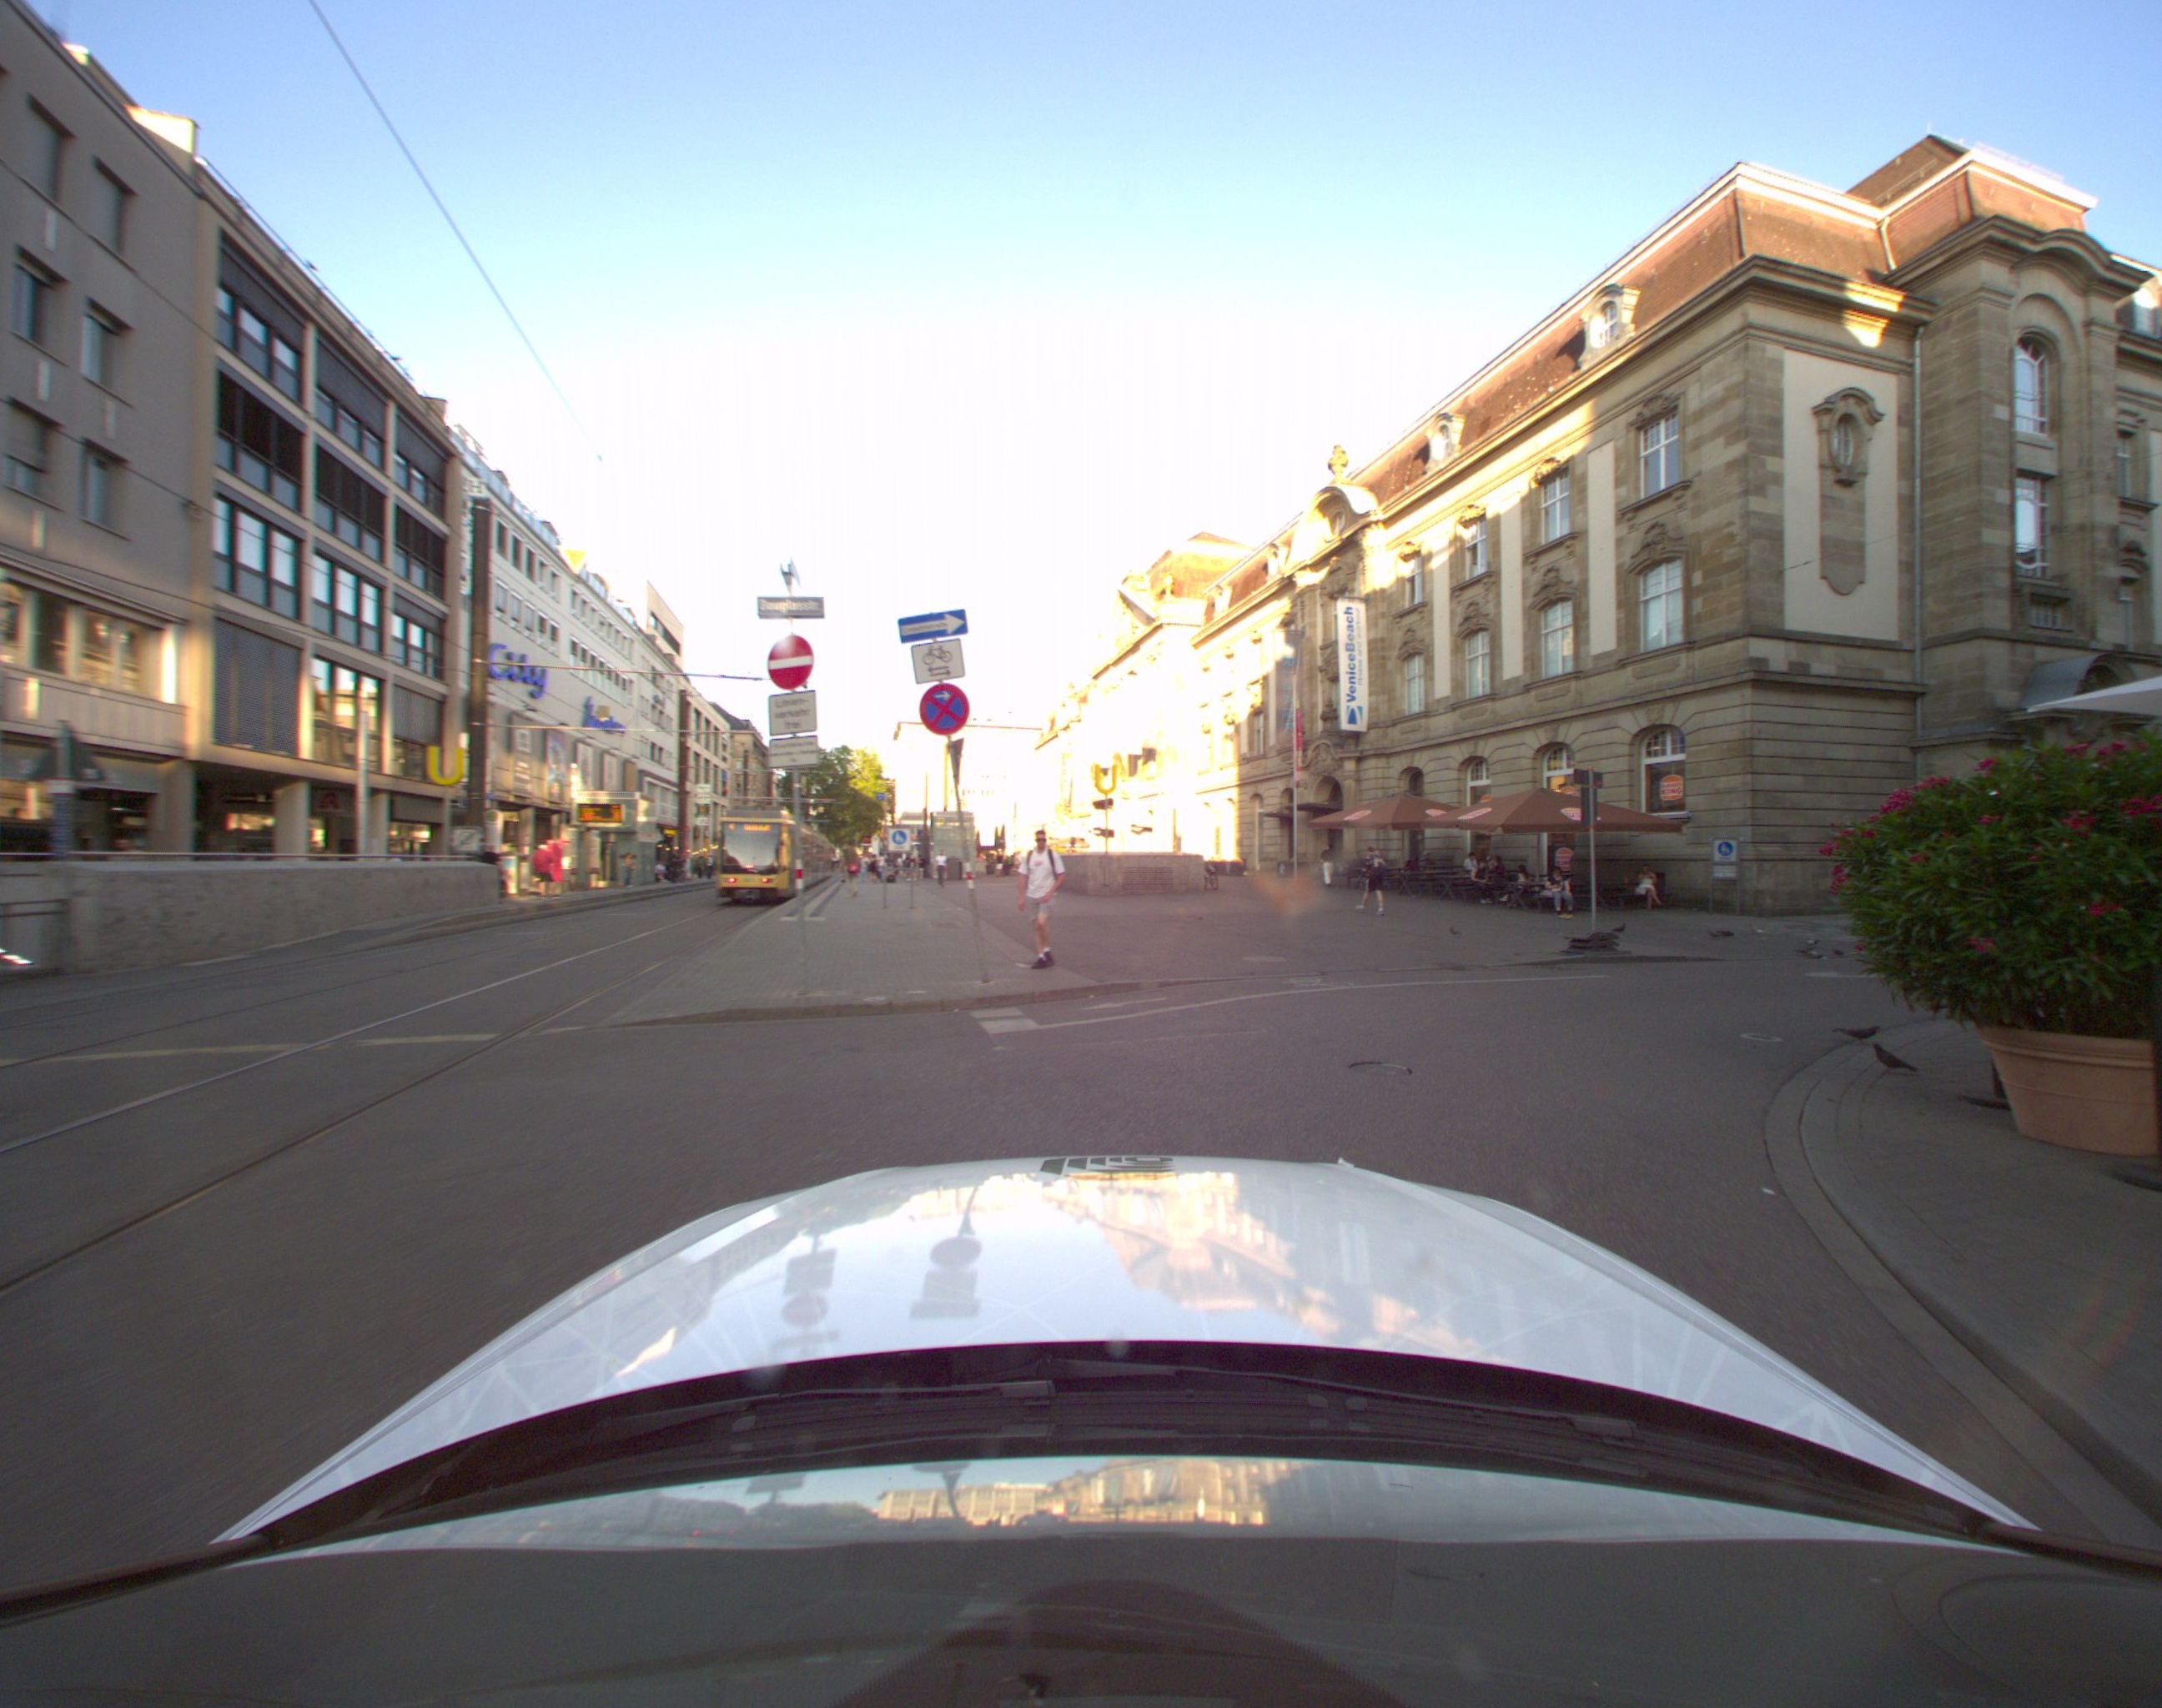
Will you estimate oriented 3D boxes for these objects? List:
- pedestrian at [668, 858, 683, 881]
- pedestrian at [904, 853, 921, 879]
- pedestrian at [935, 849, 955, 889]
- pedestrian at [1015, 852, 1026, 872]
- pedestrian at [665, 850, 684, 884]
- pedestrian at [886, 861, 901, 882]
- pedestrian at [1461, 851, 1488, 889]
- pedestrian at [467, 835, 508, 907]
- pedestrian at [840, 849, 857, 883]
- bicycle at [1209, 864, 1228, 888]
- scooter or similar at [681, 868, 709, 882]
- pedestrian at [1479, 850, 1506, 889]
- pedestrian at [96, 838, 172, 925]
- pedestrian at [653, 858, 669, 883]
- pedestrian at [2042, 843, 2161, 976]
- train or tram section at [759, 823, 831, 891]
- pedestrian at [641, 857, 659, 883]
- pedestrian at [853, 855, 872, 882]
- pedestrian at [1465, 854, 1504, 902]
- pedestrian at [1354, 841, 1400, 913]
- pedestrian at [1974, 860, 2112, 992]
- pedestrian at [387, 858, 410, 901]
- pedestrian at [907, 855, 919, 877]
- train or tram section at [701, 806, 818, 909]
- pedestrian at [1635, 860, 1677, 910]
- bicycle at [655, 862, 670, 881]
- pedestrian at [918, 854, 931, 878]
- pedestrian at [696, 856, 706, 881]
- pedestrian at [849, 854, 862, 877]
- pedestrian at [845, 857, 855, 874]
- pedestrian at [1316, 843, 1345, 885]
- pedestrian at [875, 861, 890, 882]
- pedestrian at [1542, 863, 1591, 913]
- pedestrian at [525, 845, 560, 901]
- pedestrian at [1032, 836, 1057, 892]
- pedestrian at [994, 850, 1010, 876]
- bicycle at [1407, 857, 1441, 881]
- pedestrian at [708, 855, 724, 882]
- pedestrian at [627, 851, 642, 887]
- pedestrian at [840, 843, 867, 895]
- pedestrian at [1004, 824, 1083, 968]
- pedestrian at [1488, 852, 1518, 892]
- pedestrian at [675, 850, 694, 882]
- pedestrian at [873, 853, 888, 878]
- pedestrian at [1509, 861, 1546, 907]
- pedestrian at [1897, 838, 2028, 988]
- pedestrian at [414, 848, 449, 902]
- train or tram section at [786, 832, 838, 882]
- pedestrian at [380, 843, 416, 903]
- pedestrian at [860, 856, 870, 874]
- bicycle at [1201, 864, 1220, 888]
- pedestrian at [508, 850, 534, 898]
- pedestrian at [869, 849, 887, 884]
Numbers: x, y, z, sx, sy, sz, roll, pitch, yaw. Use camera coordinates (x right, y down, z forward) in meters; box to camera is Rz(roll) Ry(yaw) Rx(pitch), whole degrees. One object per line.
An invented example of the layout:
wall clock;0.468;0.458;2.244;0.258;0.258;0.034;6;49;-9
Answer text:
pedestrian;-24.446;0.954;49.110;0.708;1.379;0.716;0;-1;-16
pedestrian;-10.931;0.776;52.847;0.784;1.661;0.774;0;-1;34
pedestrian;-6.368;0.714;38.108;0.775;1.823;0.934;-1;0;-18
pedestrian;-5.555;0.770;74.730;0.775;1.825;0.845;0;-1;-18
pedestrian;-21.290;0.676;42.654;0.766;1.725;0.713;-2;-2;44
pedestrian;-10.820;1.017;47.046;0.794;1.221;0.764;0;-1;-19
pedestrian;13.697;0.554;28.345;0.594;1.308;0.578;1;2;-20
pedestrian;-16.153;0.453;22.190;0.716;1.925;0.705;0;-2;-20
pedestrian;-12.883;0.653;45.088;0.738;1.823;0.812;0;-1;-29
bicycle;5.110;0.817;30.282;0.316;0.867;0.995;-1;0;-16
scooter or similar;-23.441;1.251;49.522;0.552;0.831;1.534;-1;-1;24
pedestrian;14.359;0.530;28.423;0.593;1.308;0.579;1;2;-17
pedestrian;-19.333;0.552;16.651;0.715;1.725;0.705;0;-1;-17
pedestrian;-23.689;0.911;45.935;0.708;1.379;0.716;0;-1;-16
pedestrian;15.012;0.767;11.962;0.867;1.839;0.868;0;2;-20
train or tram section;-16.370;0.176;47.483;2.805;3.319;14.433;0;0;-15
pedestrian;-23.178;0.883;43.833;0.708;1.379;0.716;0;-1;-16
pedestrian;-12.939;0.859;48.239;0.761;1.579;0.798;0;-1;15
pedestrian;12.006;0.700;24.236;0.802;1.382;0.652;1;2;-4
pedestrian;7.632;0.579;21.030;0.808;1.823;0.803;0;0;-10
pedestrian;12.133;0.879;10.292;0.805;1.581;0.869;2;-1;-15
pedestrian;-25.199;0.930;30.071;0.510;1.547;0.514;0;-2;-23
pedestrian;-12.986;0.912;62.838;0.790;1.661;0.768;0;-1;-3
train or tram section;-12.689;0.130;33.528;2.805;3.319;14.433;0;0;-15
pedestrian;15.756;0.840;22.345;0.659;1.308;0.775;0;3;10
bicycle;-24.578;1.022;47.831;0.436;1.142;1.599;0;-1;-39
pedestrian;-10.661;0.819;55.577;0.790;1.661;0.768;0;-1;-3
pedestrian;-26.411;0.995;56.656;0.603;1.727;0.604;0;-2;-22
pedestrian;-17.042;0.866;61.486;0.765;1.661;0.794;0;-1;-3
pedestrian;-22.988;1.118;81.076;0.766;1.661;0.793;0;-1;-6
pedestrian;9.450;0.372;30.832;0.844;1.565;0.851;0;1;2
pedestrian;-11.603;1.021;47.662;0.794;1.221;0.764;0;-1;-19
pedestrian;12.832;0.887;21.555;0.776;1.242;0.828;1;2;-1
pedestrian;-16.628;0.577;25.161;0.716;1.698;0.780;0;-2;-21
pedestrian;-1.333;0.351;29.761;0.766;2.014;0.919;0;-1;5
pedestrian;-5.579;0.614;57.512;0.854;1.823;0.766;0;-1;-38
bicycle;13.735;0.598;32.568;1.322;0.894;0.408;-1;1;-20
pedestrian;-23.182;0.917;51.719;0.774;1.725;0.706;0;-1;-15
pedestrian;-20.236;0.666;36.915;0.513;1.617;0.501;0;-2;-24
pedestrian;-7.663;0.514;27.397;0.722;1.725;0.702;0;-2;-30
pedestrian;-0.516;0.558;11.120;1.011;1.863;1.041;0;-1;-4
pedestrian;14.123;0.597;27.246;0.609;1.308;0.605;1;2;-20
pedestrian;-21.590;0.675;44.368;0.713;1.725;0.766;1;-2;-44
pedestrian;-13.459;0.785;54.671;0.790;1.661;0.768;0;-1;-3
pedestrian;12.643;0.846;23.079;0.613;1.226;0.701;1;2;-1
pedestrian;11.321;0.729;10.481;0.805;1.839;0.869;2;-1;-15
pedestrian;-19.232;0.616;24.116;0.597;1.588;0.632;-1;-2;33
train or tram section;-20.050;0.235;61.401;2.805;3.319;14.433;0;0;-15
pedestrian;-19.986;0.547;23.832;0.597;1.725;0.632;-1;-2;32
pedestrian;-20.061;1.047;75.663;0.790;1.661;0.768;0;-1;-3
bicycle;4.796;0.814;30.194;0.316;0.867;0.995;-1;0;-16
pedestrian;-18.845;0.656;27.398;0.606;1.588;0.623;0;-2;-24
pedestrian;-10.593;0.640;42.416;0.738;1.823;0.812;0;-1;-29
